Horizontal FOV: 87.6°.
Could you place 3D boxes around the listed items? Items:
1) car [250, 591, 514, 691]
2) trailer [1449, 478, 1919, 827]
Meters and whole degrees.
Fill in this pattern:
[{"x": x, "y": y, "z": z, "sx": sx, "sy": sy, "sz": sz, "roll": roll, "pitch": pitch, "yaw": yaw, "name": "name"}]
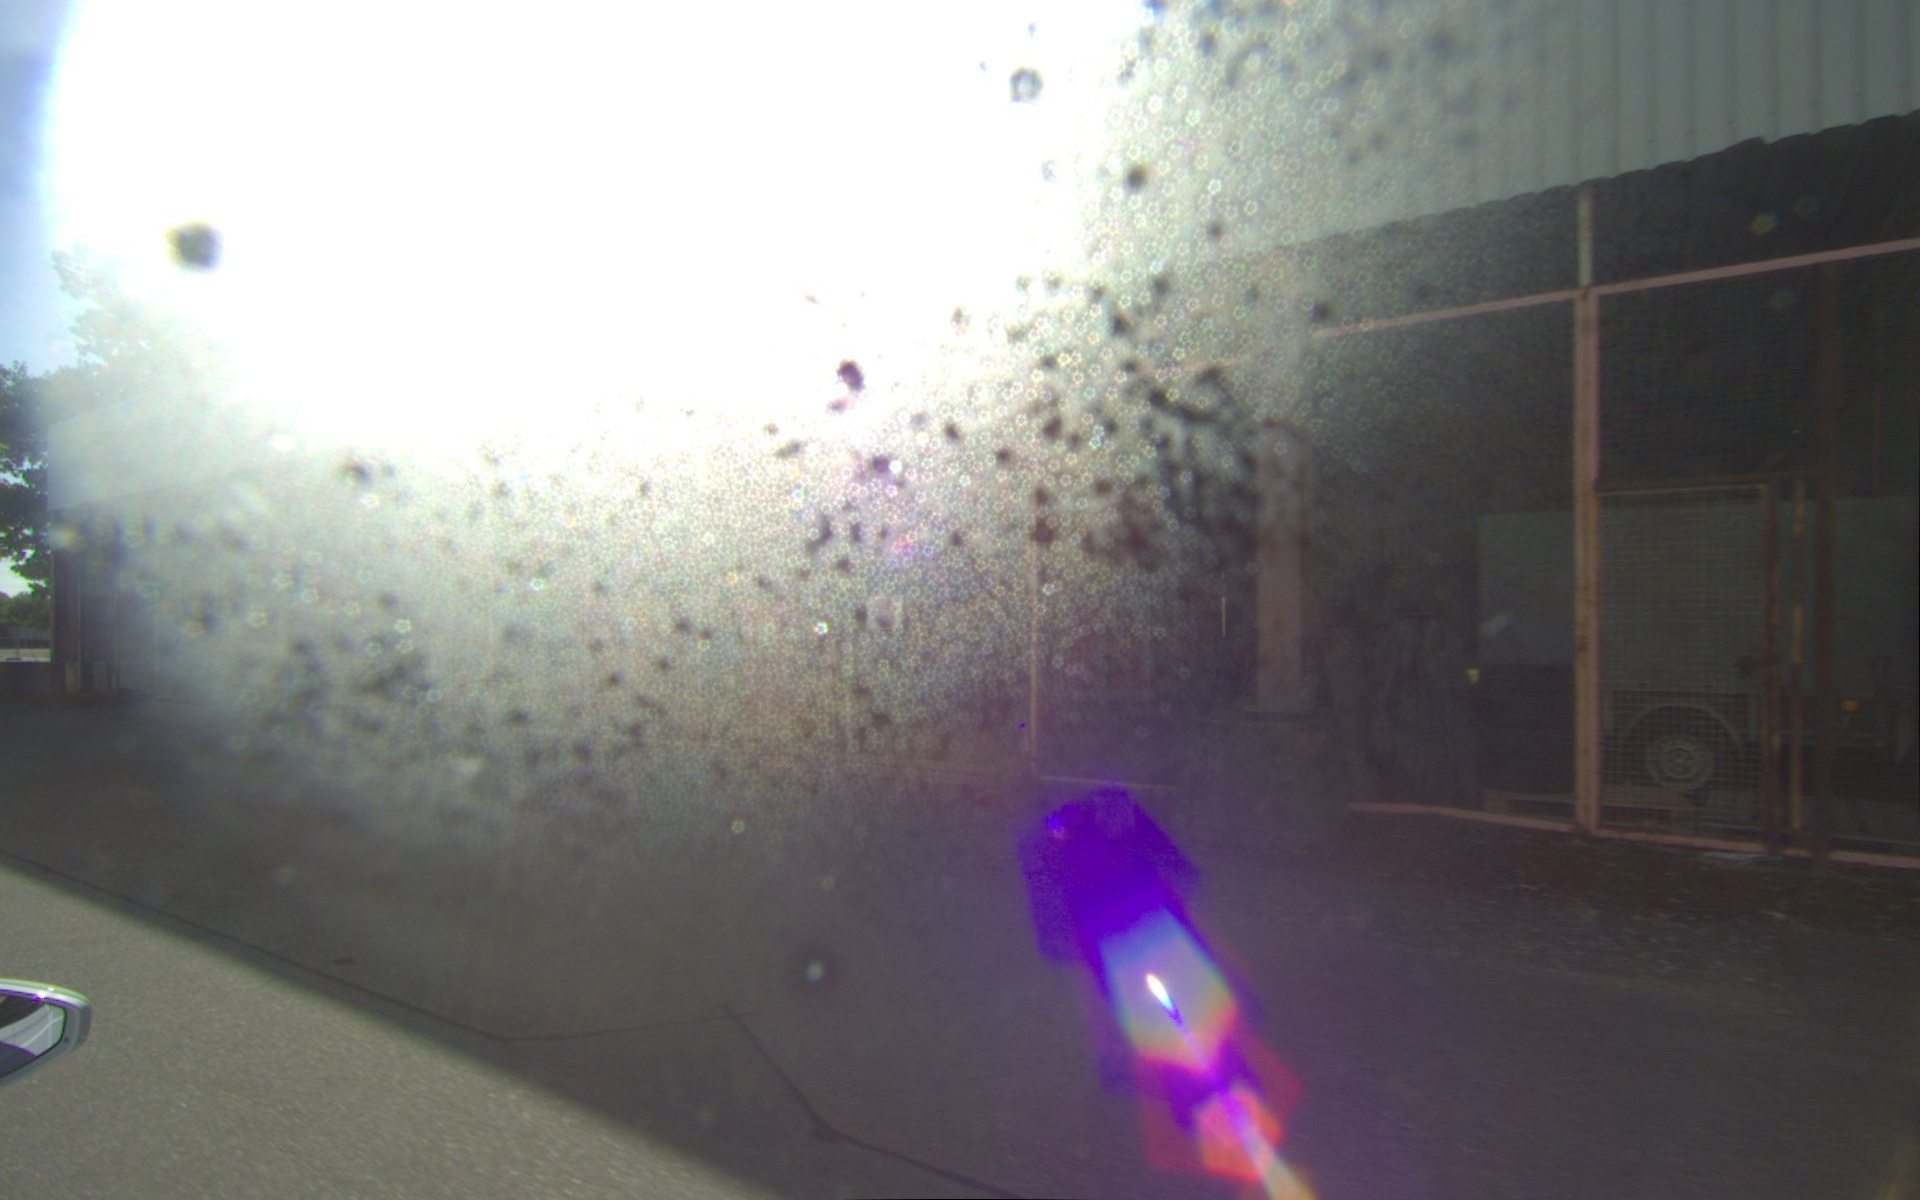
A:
[{"x": -12.505, "y": 0.878, "z": 22.040, "sx": 1.968, "sy": 1.940, "sz": 4.769, "roll": -1, "pitch": -2, "yaw": 25, "name": "car"}, {"x": 5.409, "y": 0.352, "z": 7.716, "sx": 2.764, "sy": 2.172, "sz": 1.916, "roll": -1, "pitch": 0, "yaw": 32, "name": "trailer"}]
